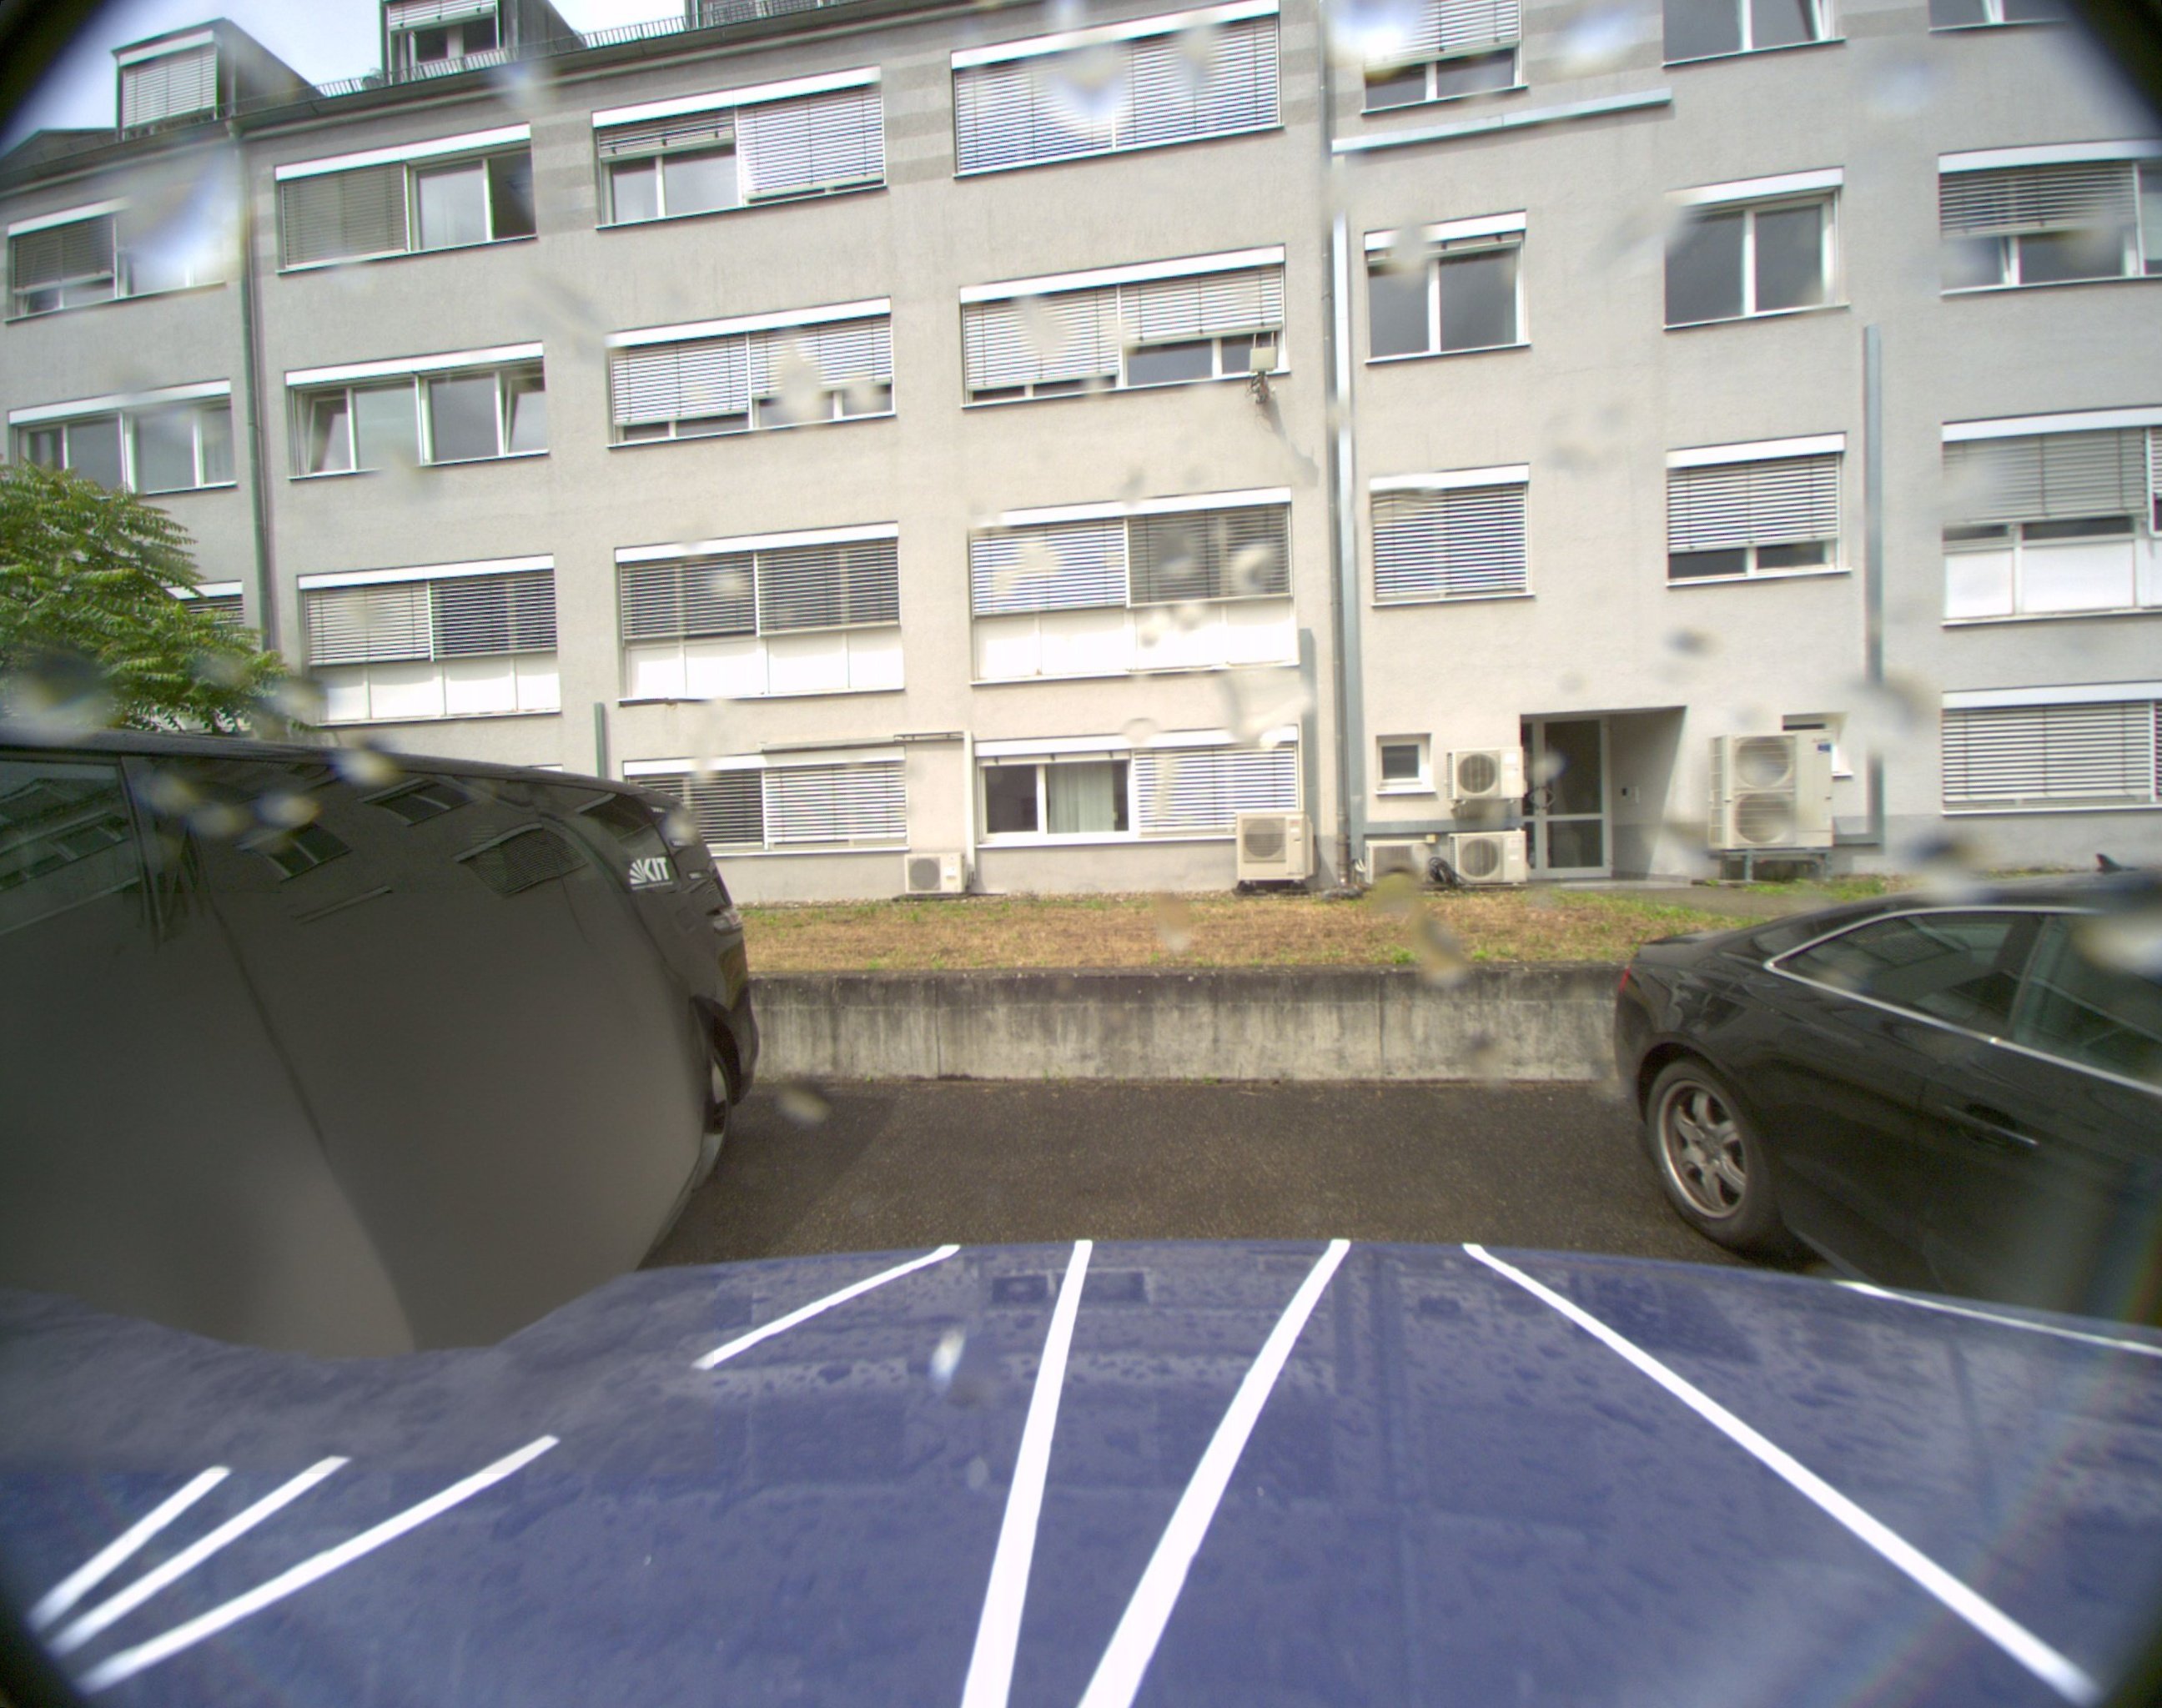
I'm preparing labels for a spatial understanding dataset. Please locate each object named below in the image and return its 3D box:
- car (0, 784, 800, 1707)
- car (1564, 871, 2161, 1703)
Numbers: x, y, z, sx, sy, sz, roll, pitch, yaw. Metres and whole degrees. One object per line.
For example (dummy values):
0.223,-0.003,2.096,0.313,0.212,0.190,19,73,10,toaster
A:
-2.807,0.827,1.825,1.968,1.854,4.749,-2,2,7,car
2.830,0.865,1.192,1.761,1.344,4.530,-2,2,8,car
